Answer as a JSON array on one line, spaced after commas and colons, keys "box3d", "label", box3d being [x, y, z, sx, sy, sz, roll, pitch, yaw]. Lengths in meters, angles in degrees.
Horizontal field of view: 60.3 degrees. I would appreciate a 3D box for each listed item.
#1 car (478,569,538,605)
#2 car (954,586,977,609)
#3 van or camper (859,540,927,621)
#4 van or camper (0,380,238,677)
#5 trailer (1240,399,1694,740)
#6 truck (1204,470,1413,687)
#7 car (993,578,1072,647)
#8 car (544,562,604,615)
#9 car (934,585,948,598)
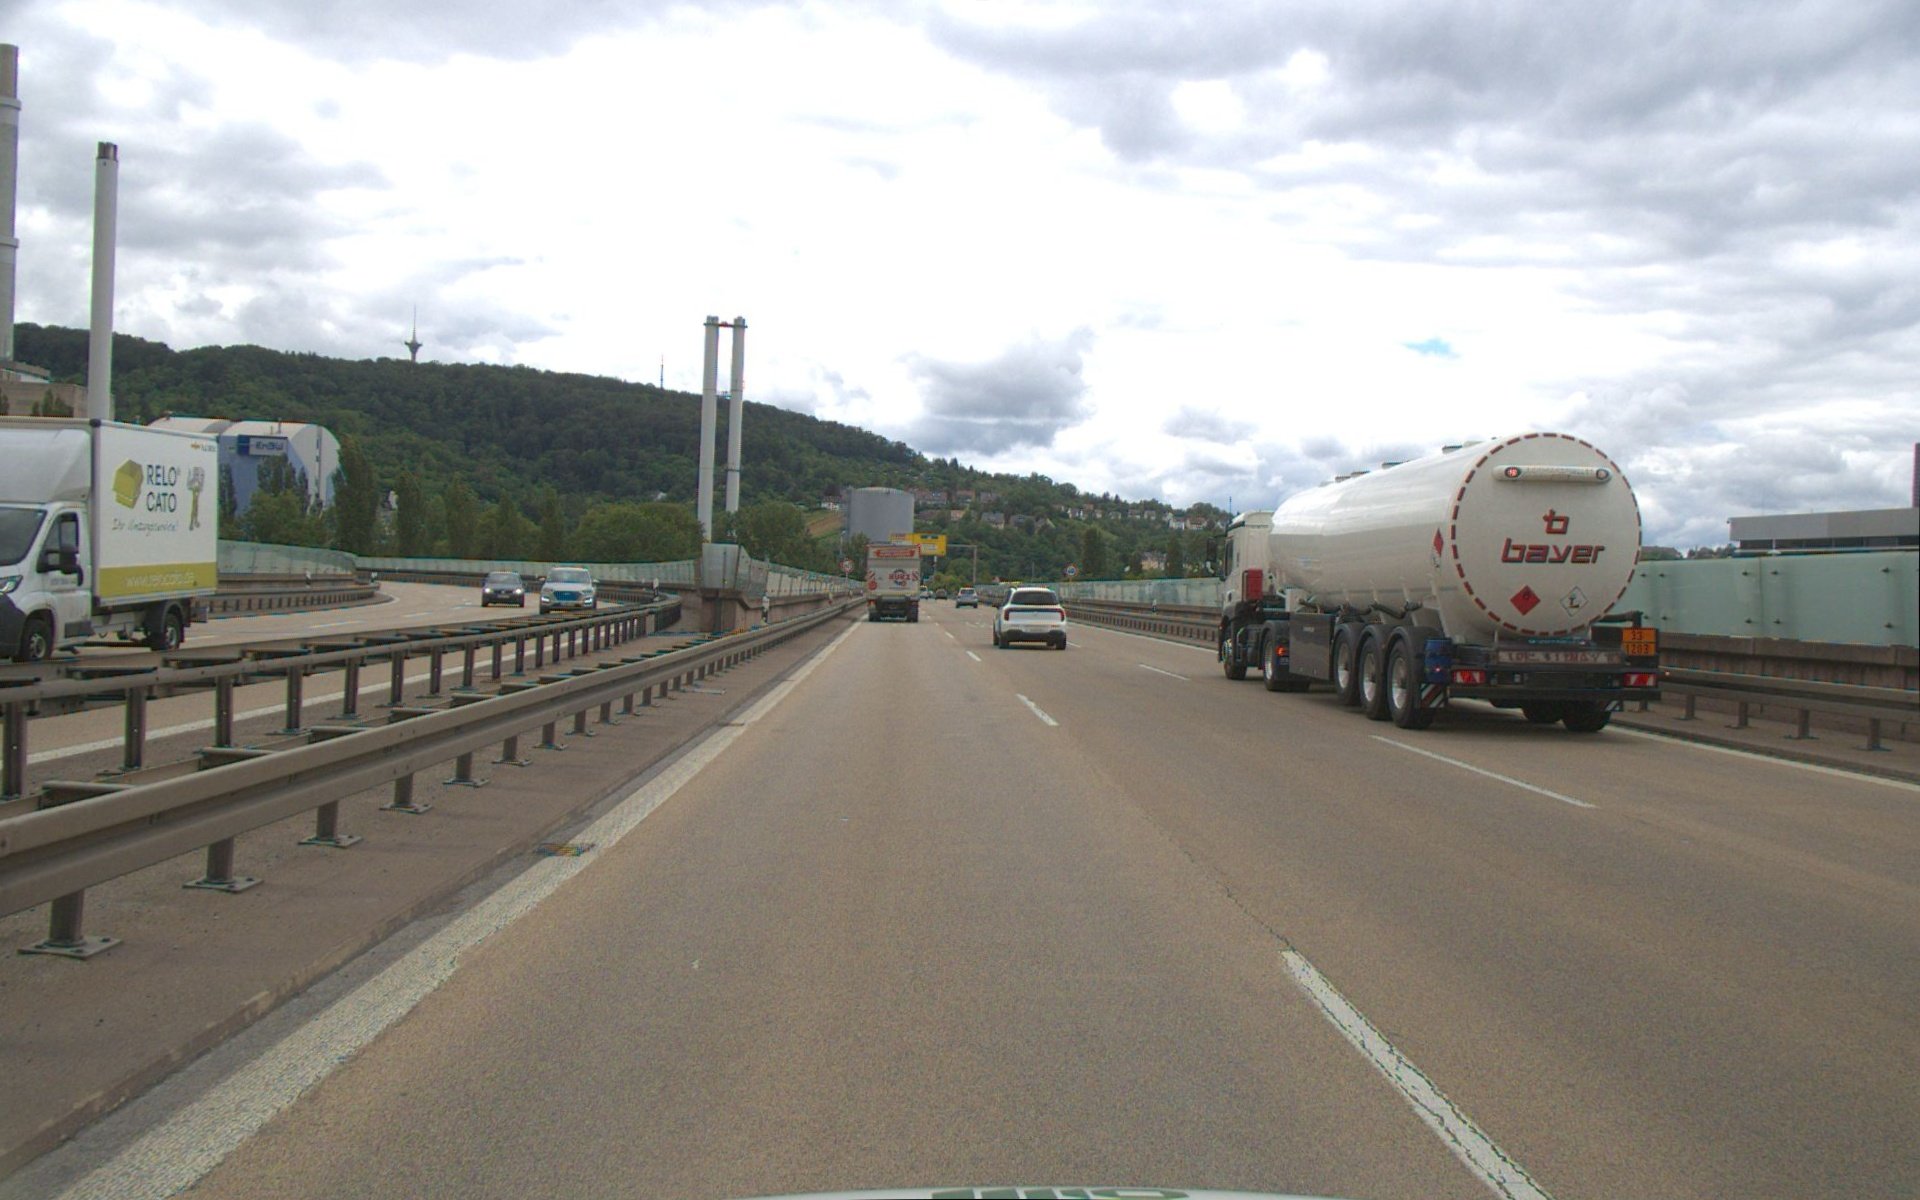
[{"box3d": [-19.223, -0.546, 70.458, 1.726, 1.456, 4.391, 1, 0, -6], "label": "car"}, {"box3d": [0.474, -0.226, 140.289, 1.884, 1.816, 4.113, 1, 0, 1], "label": "car"}, {"box3d": [-3.192, -0.894, 80.485, 3.059, 3.641, 8.547, 1, 0, -2], "label": "van or camper"}, {"box3d": [-12.423, -0.867, 22.596, 2.357, 3.447, 6.949, 1, 0, -4], "label": "van or camper"}, {"box3d": [6.408, -0.335, 23.379, 2.597, 3.605, 11.216, 1, 0, -2], "label": "trailer"}, {"box3d": [6.199, -0.367, 30.114, 2.578, 3.575, 4.902, 1, 0, -2], "label": "truck"}, {"box3d": [1.986, 0.313, 46.345, 1.885, 1.816, 4.112, 1, 0, -2], "label": "car"}, {"box3d": [-13.331, -0.407, 57.256, 1.811, 1.702, 4.396, 1, 0, -11], "label": "car"}, {"box3d": [-2.769, -1.208, 239.865, 1.885, 1.816, 4.112, 1, 0, -2], "label": "car"}]
